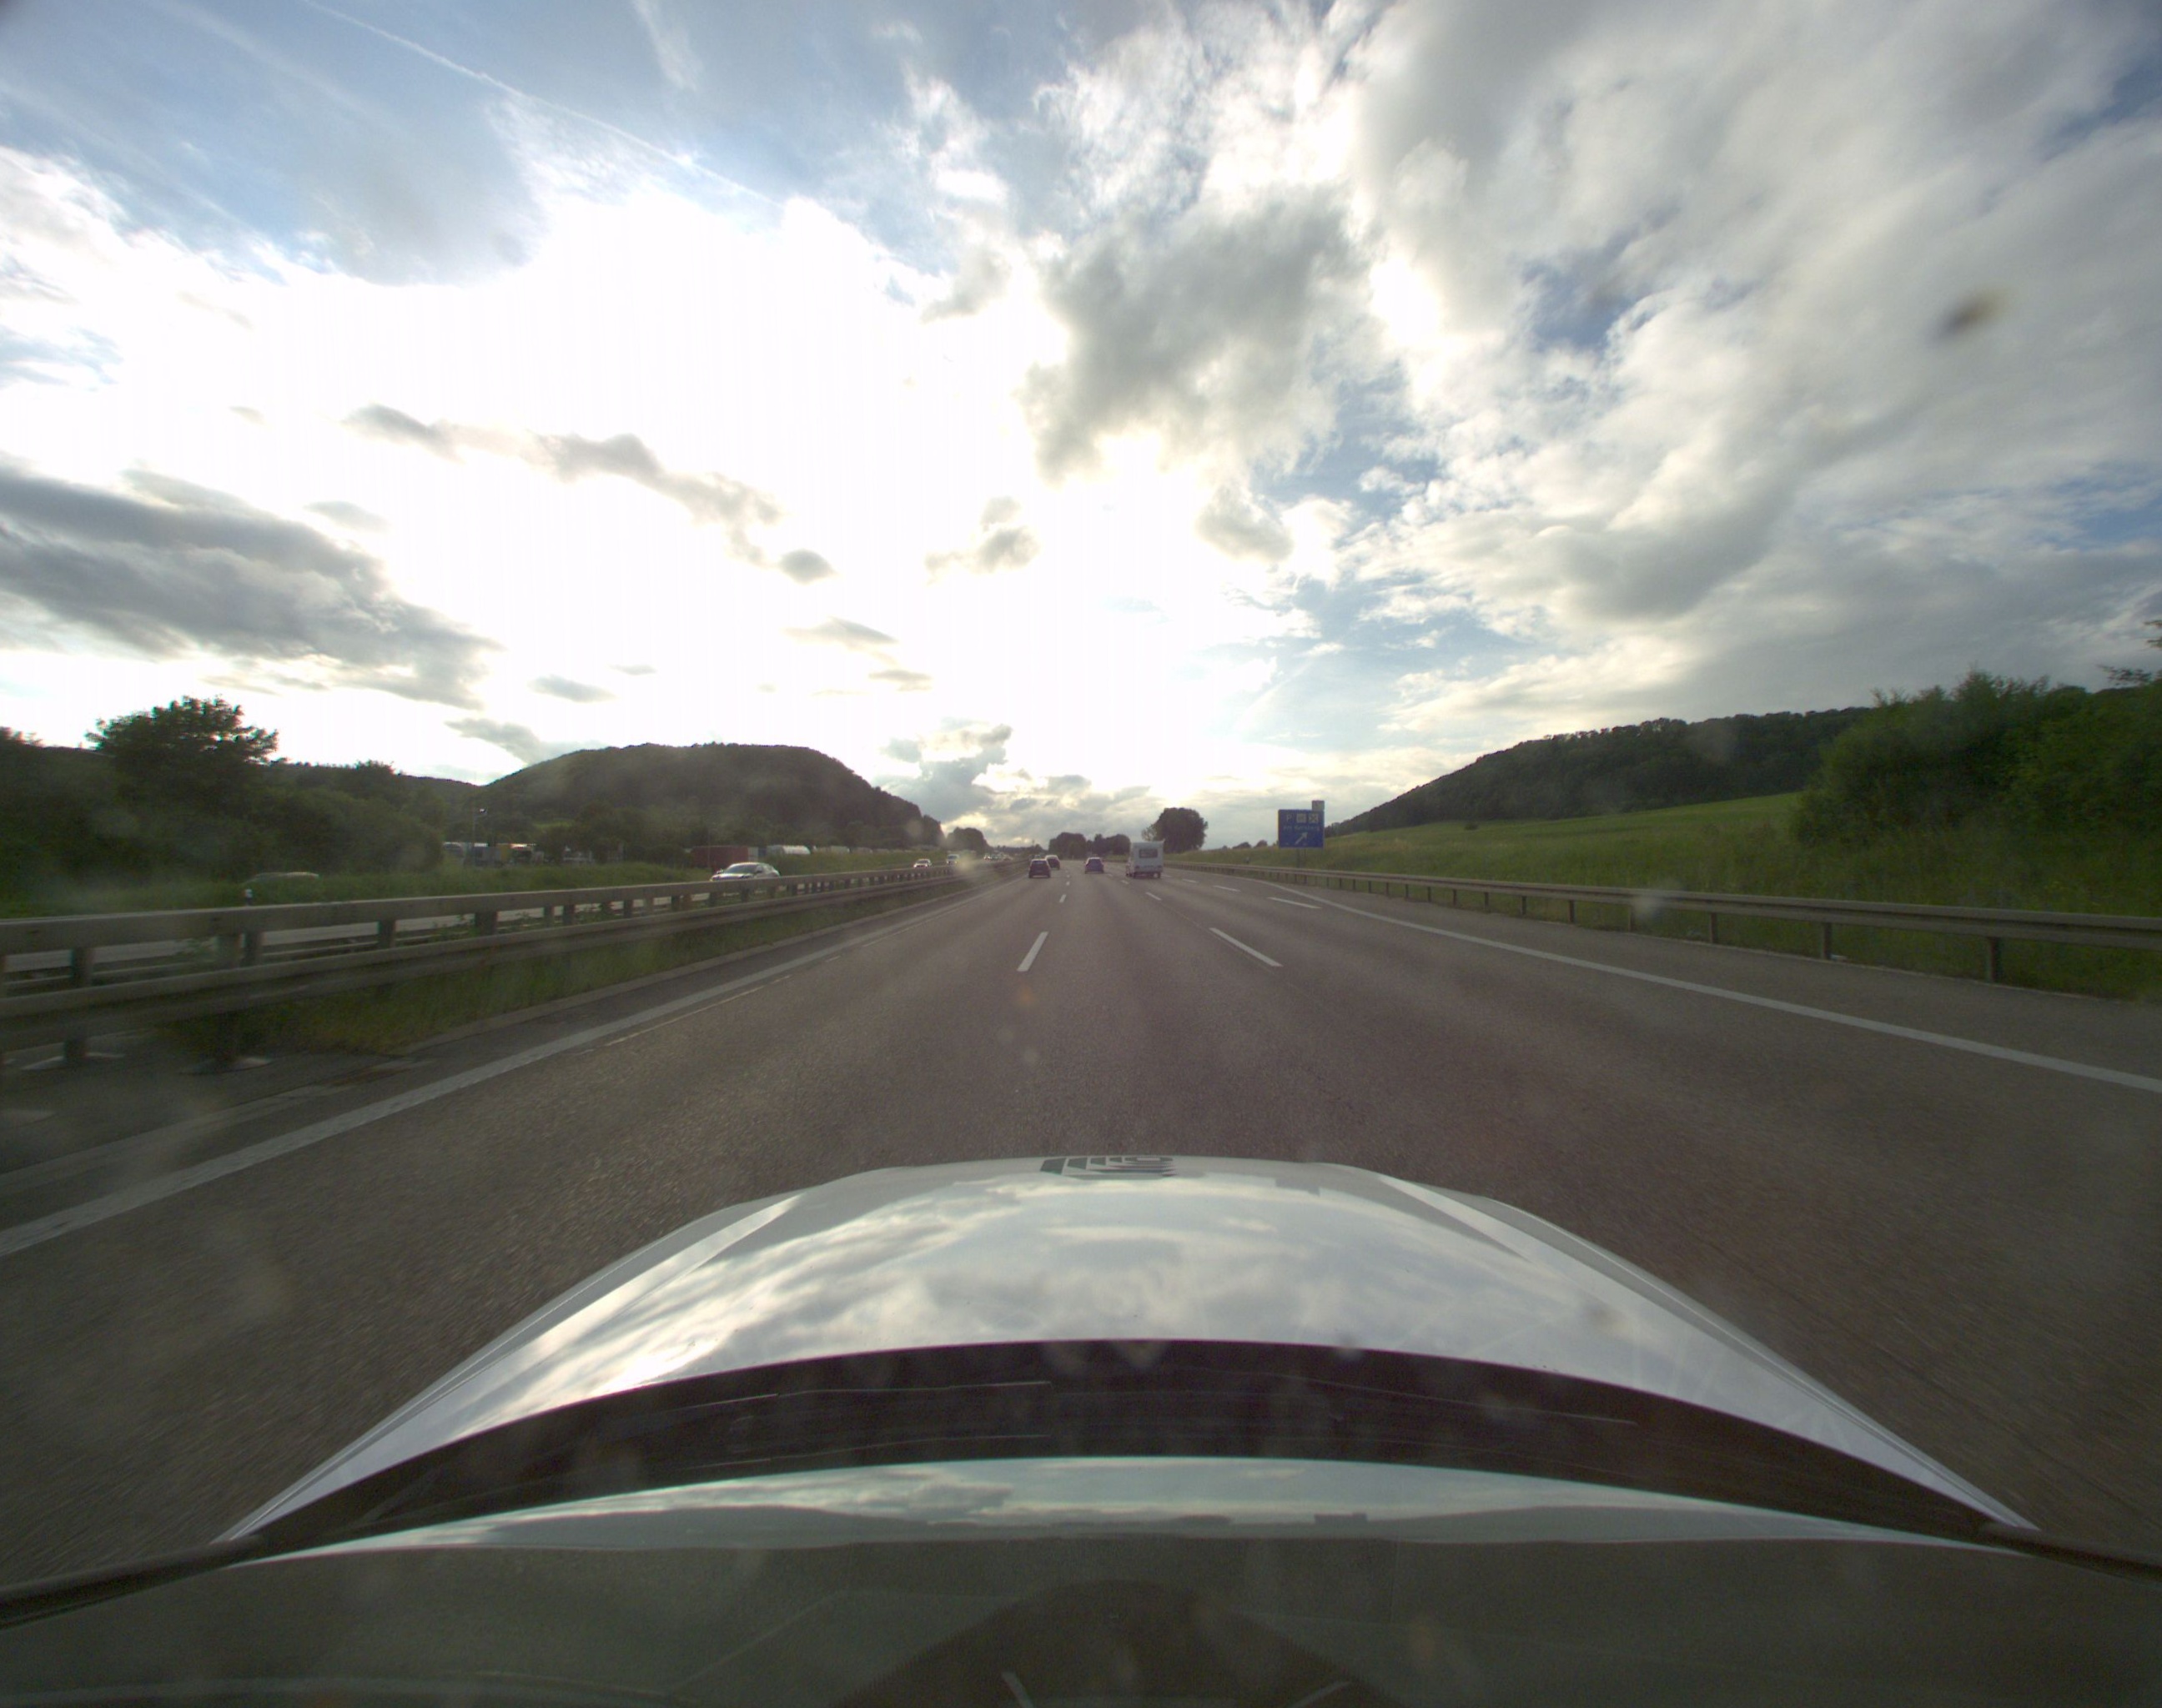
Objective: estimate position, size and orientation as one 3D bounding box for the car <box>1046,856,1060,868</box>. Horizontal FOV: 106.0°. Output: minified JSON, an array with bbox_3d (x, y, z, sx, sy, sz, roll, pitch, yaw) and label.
[{"bbox_3d":[-3.344,0.938,97.749,1.561,1.380,3.996,-1,0,-2],"label":"car"}]

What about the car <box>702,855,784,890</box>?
[{"bbox_3d":[-16.351,0.882,39.661,1.987,1.497,4.690,-3,-1,-1],"label":"car"}]

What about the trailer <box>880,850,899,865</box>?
[{"bbox_3d":[-47.683,0.868,203.483,2.872,3.696,10.357,-2,0,-4],"label":"trailer"}]

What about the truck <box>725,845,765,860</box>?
[{"bbox_3d":[-55.354,-0.209,134.085,7.214,2.226,2.918,-1,-1,40],"label":"truck"}]

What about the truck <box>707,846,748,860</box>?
[{"bbox_3d":[-55.811,-0.191,128.507,7.214,2.014,2.918,-2,-2,40],"label":"truck"}]

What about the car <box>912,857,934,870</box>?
[{"bbox_3d":[-19.028,1.185,98.390,1.990,1.497,4.685,-1,0,-4],"label":"car"}]

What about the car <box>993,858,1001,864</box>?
[{"bbox_3d":[-23.602,1.869,229.069,1.803,1.614,4.336,0,-2,-3],"label":"car"}]

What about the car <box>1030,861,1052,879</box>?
[{"bbox_3d":[-3.113,1.218,64.175,1.533,1.348,3.677,-1,-1,0],"label":"car"}]

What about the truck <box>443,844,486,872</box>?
[{"bbox_3d":[-91.037,0.671,120.156,11.234,3.857,2.603,-2,-2,40],"label":"truck"}]

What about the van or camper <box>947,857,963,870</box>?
[{"bbox_3d":[-19.890,1.480,128.461,1.910,1.873,4.751,-1,0,-2],"label":"van or camper"}]

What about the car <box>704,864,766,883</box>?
[{"bbox_3d":[-29.995,1.681,70.679,4.606,1.551,1.993,-2,0,-11],"label":"car"}]

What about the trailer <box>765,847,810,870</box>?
[{"bbox_3d":[-40.727,0.703,113.427,2.574,2.854,12.245,0,-1,-4],"label":"trailer"}]

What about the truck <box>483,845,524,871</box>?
[{"bbox_3d":[-91.729,0.712,129.277,11.234,3.857,2.603,-2,-2,40],"label":"truck"}]

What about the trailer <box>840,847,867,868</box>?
[{"bbox_3d":[-44.610,0.798,160.106,2.874,3.696,13.642,-2,-1,-7],"label":"trailer"}]

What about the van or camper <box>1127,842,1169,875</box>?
[{"bbox_3d":[4.680,0.352,58.046,2.539,2.239,5.328,-1,-1,0],"label":"van or camper"}]

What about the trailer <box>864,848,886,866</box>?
[{"bbox_3d":[-45.883,0.673,181.313,2.872,3.696,10.357,-2,0,-4],"label":"trailer"}]

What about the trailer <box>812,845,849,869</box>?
[{"bbox_3d":[-42.180,0.584,137.710,2.872,3.696,13.653,-2,-1,-4],"label":"trailer"}]

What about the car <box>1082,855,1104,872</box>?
[{"bbox_3d":[1.092,0.881,75.577,1.763,1.433,3.995,-2,-1,-3],"label":"car"}]
